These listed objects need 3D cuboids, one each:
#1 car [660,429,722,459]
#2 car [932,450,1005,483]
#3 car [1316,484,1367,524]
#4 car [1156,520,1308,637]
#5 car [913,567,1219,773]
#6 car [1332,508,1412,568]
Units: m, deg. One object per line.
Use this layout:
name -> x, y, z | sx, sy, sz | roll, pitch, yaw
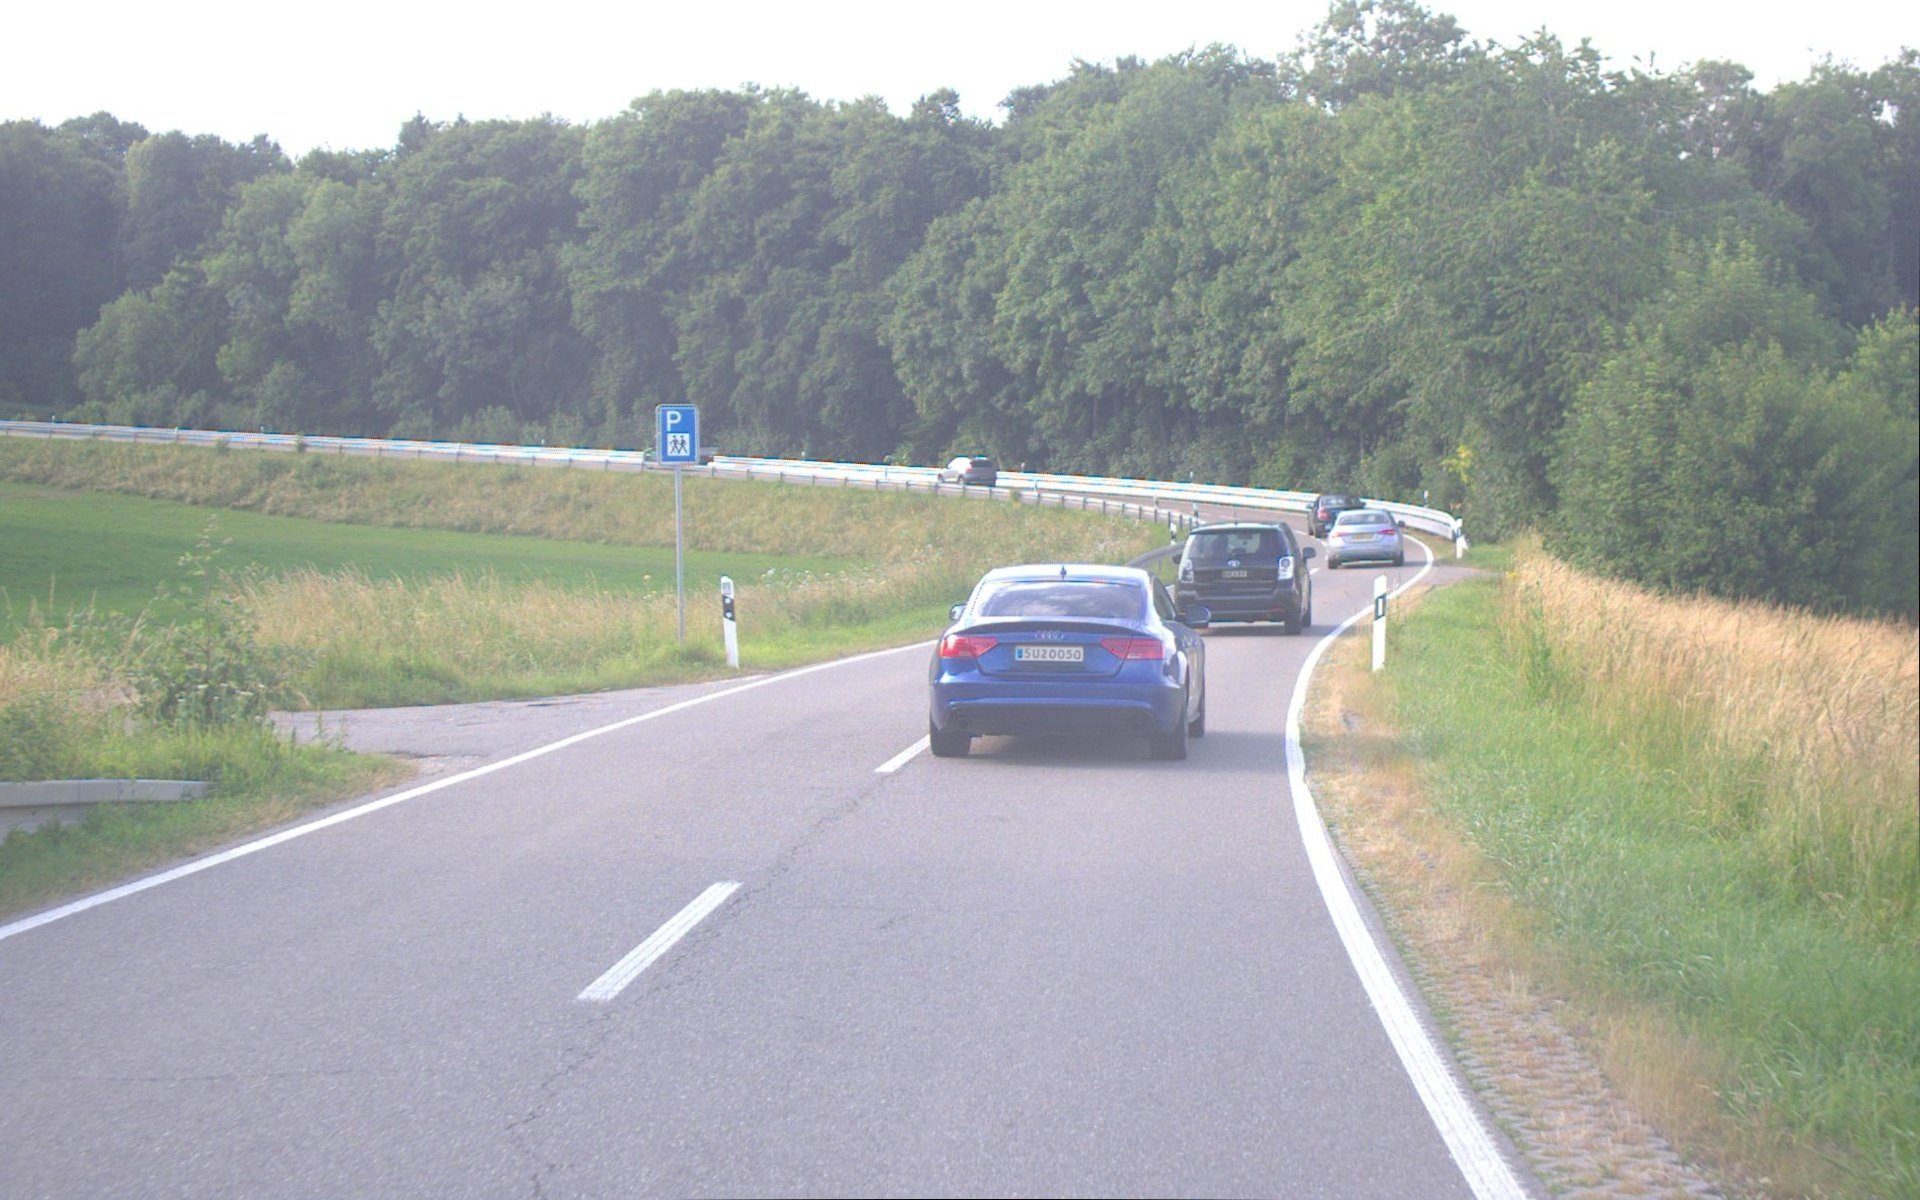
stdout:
car -> -16.208, -9.385, 206.868 | 1.994, 1.765, 4.000 | -1, 3, -35
car -> 0.433, -6.986, 179.232 | 1.993, 1.673, 4.179 | -1, 3, -30
car -> 12.552, -3.151, 113.264 | 1.471, 1.223, 3.299 | -2, 1, 4
car -> 3.973, -0.348, 49.696 | 1.862, 1.563, 3.999 | 0, 2, 9
car -> 0.877, 0.453, 25.496 | 1.819, 1.334, 4.349 | 1, 1, 8
car -> 10.237, -1.558, 85.193 | 1.683, 1.371, 3.999 | -1, 2, 11
